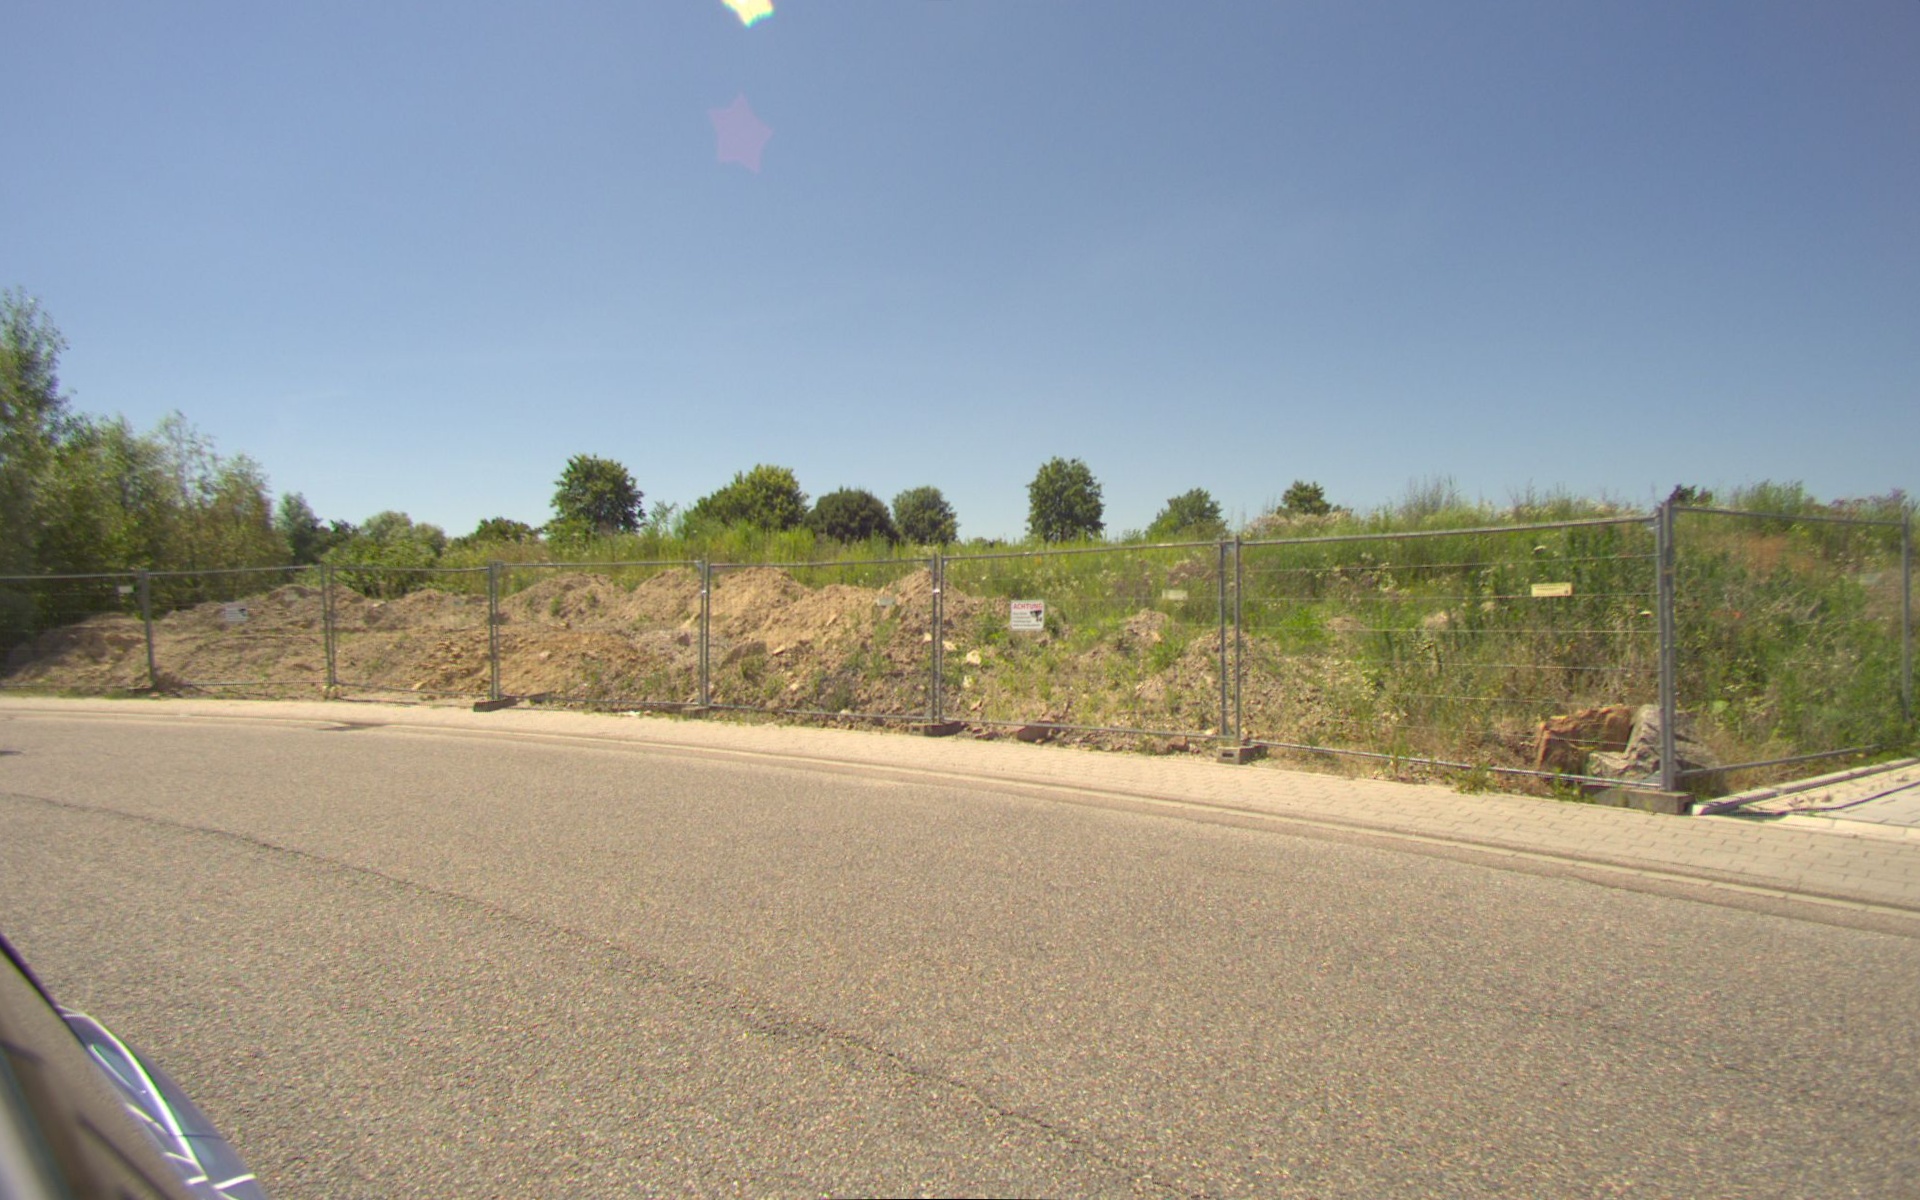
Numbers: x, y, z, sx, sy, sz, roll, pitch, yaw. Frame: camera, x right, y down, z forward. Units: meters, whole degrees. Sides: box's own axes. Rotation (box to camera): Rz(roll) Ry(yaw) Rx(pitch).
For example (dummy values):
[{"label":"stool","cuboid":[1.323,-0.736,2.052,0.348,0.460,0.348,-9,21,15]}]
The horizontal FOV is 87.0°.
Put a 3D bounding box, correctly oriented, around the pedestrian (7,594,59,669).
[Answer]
[{"label":"pedestrian","cuboid":[-27.530,0.921,30.064,0.901,2.167,0.882,-1,-1,-25]}]
